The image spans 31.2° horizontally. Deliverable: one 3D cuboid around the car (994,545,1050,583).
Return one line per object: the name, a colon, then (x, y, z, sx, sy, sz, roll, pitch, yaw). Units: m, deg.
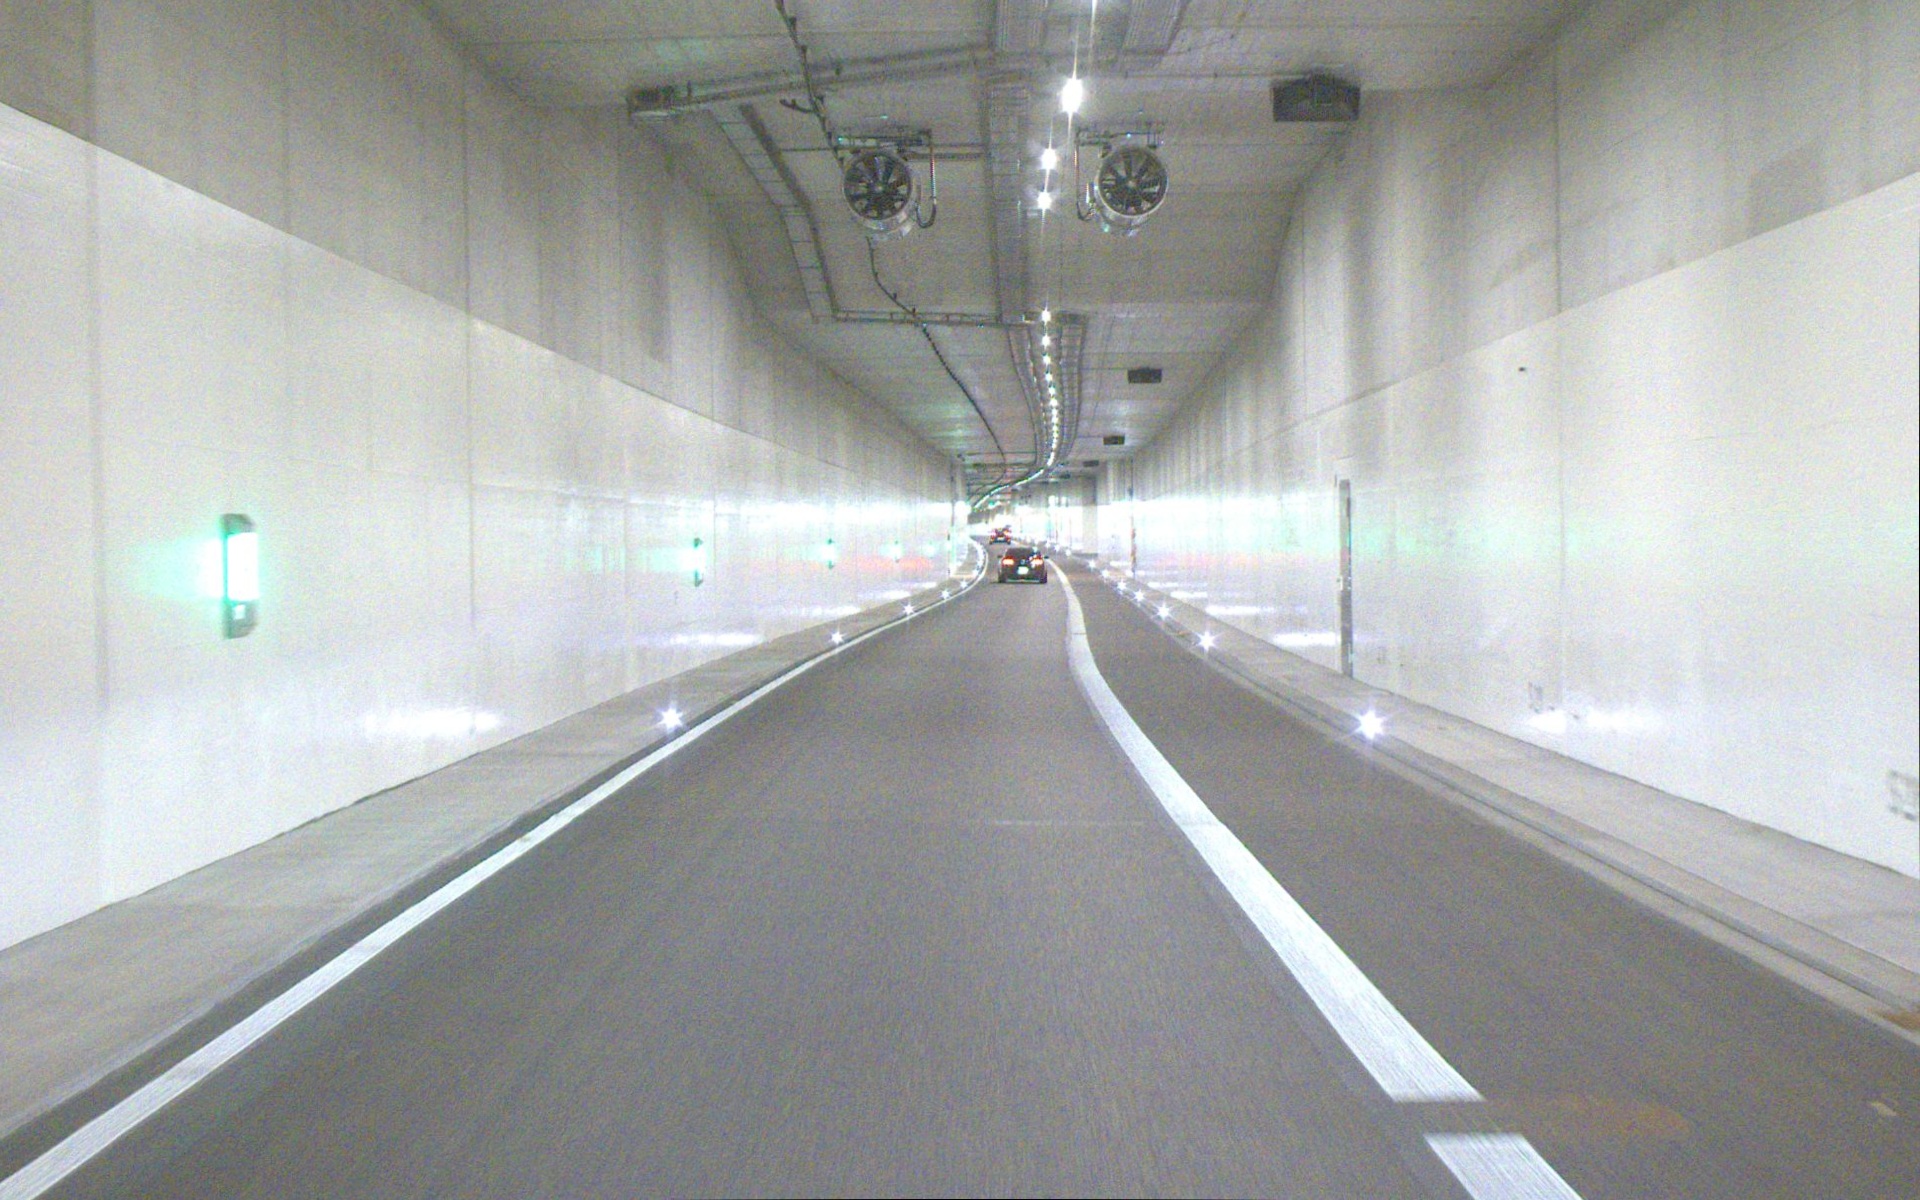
car: (2.377, -1.417, 133.057, 1.993, 1.415, 4.000, 1, 1, -1)
